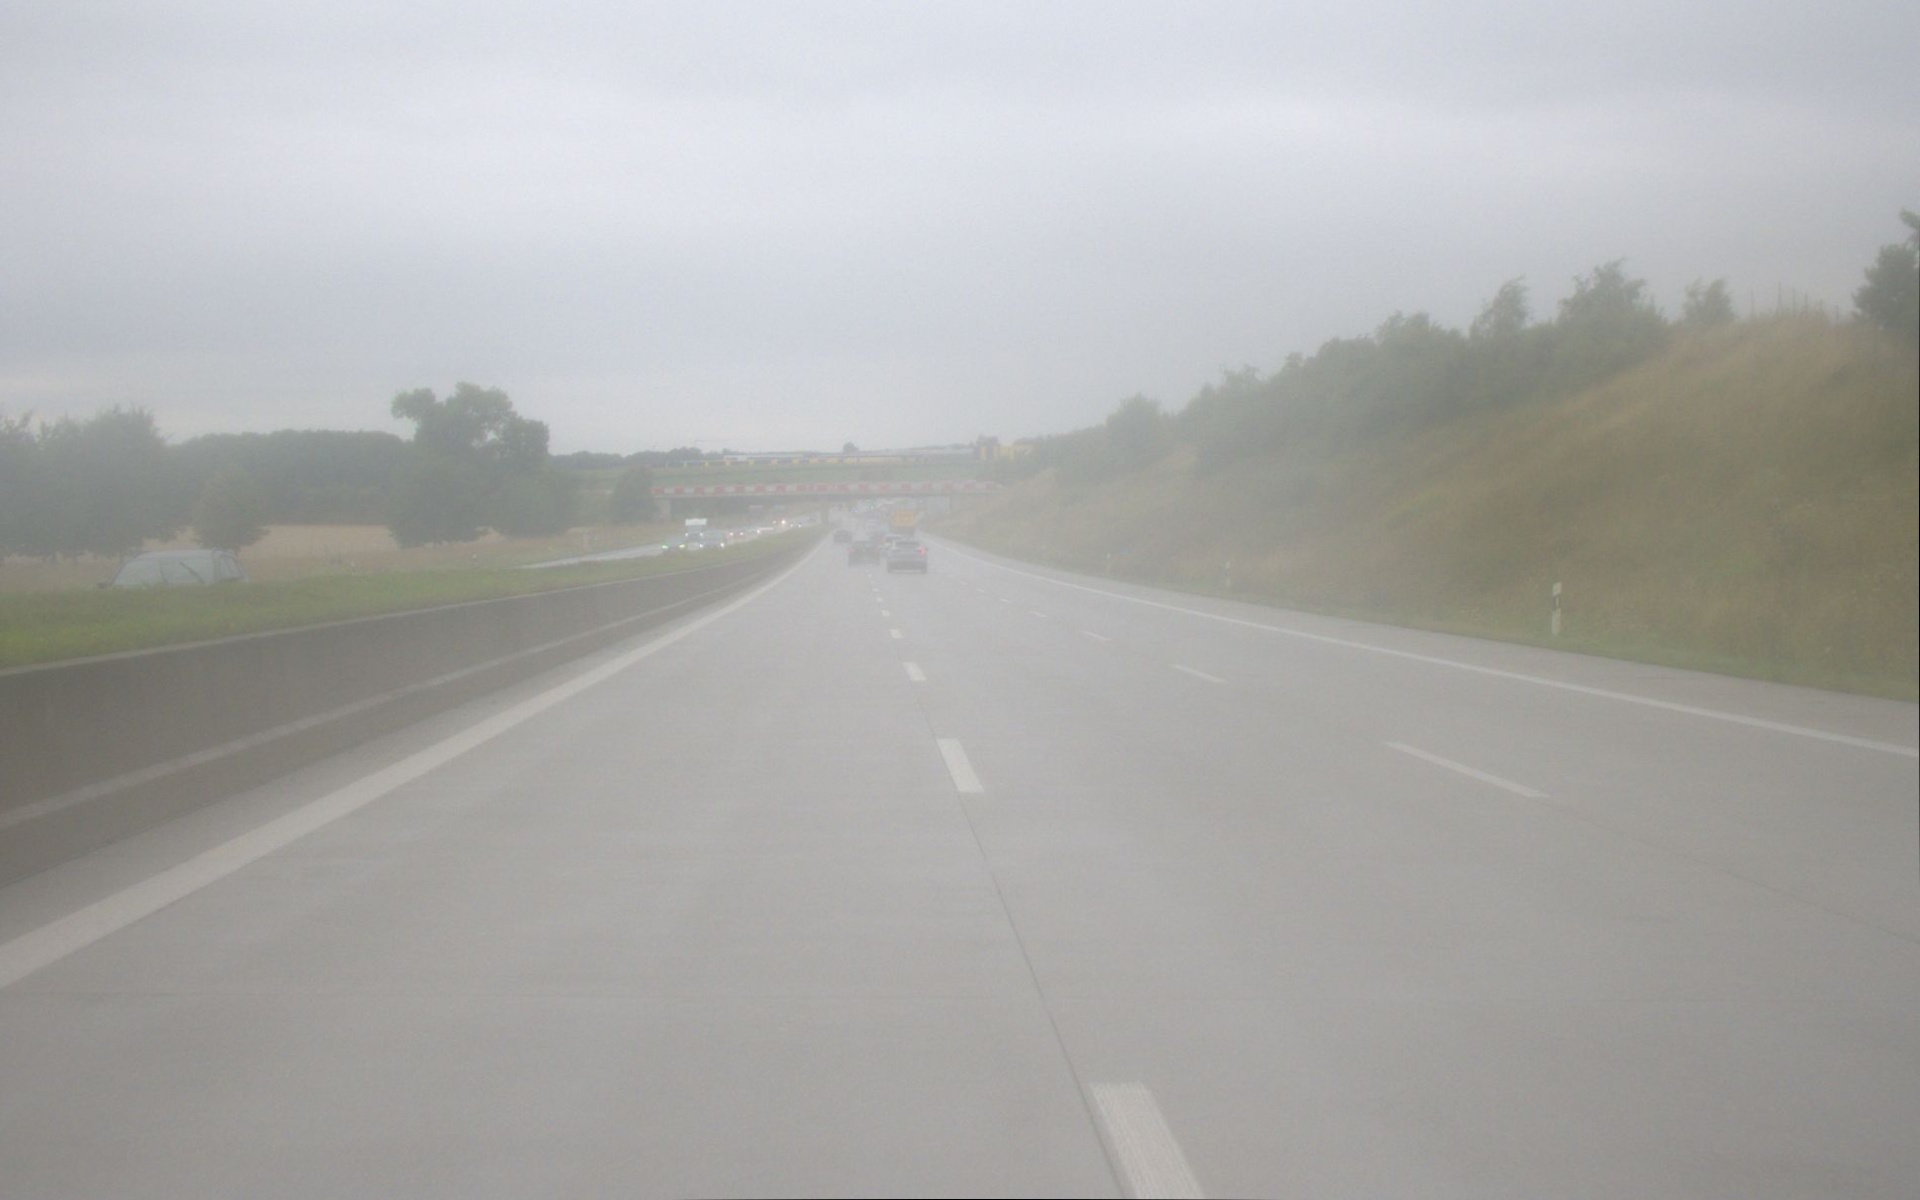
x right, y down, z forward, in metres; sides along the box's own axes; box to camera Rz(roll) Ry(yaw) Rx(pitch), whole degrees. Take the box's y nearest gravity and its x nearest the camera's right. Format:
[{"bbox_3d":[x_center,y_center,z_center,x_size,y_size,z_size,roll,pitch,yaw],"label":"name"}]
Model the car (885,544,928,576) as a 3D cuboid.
[{"bbox_3d":[-2.551,-1.890,162.377,1.847,1.326,4.431,0,3,-3],"label":"car"}]
